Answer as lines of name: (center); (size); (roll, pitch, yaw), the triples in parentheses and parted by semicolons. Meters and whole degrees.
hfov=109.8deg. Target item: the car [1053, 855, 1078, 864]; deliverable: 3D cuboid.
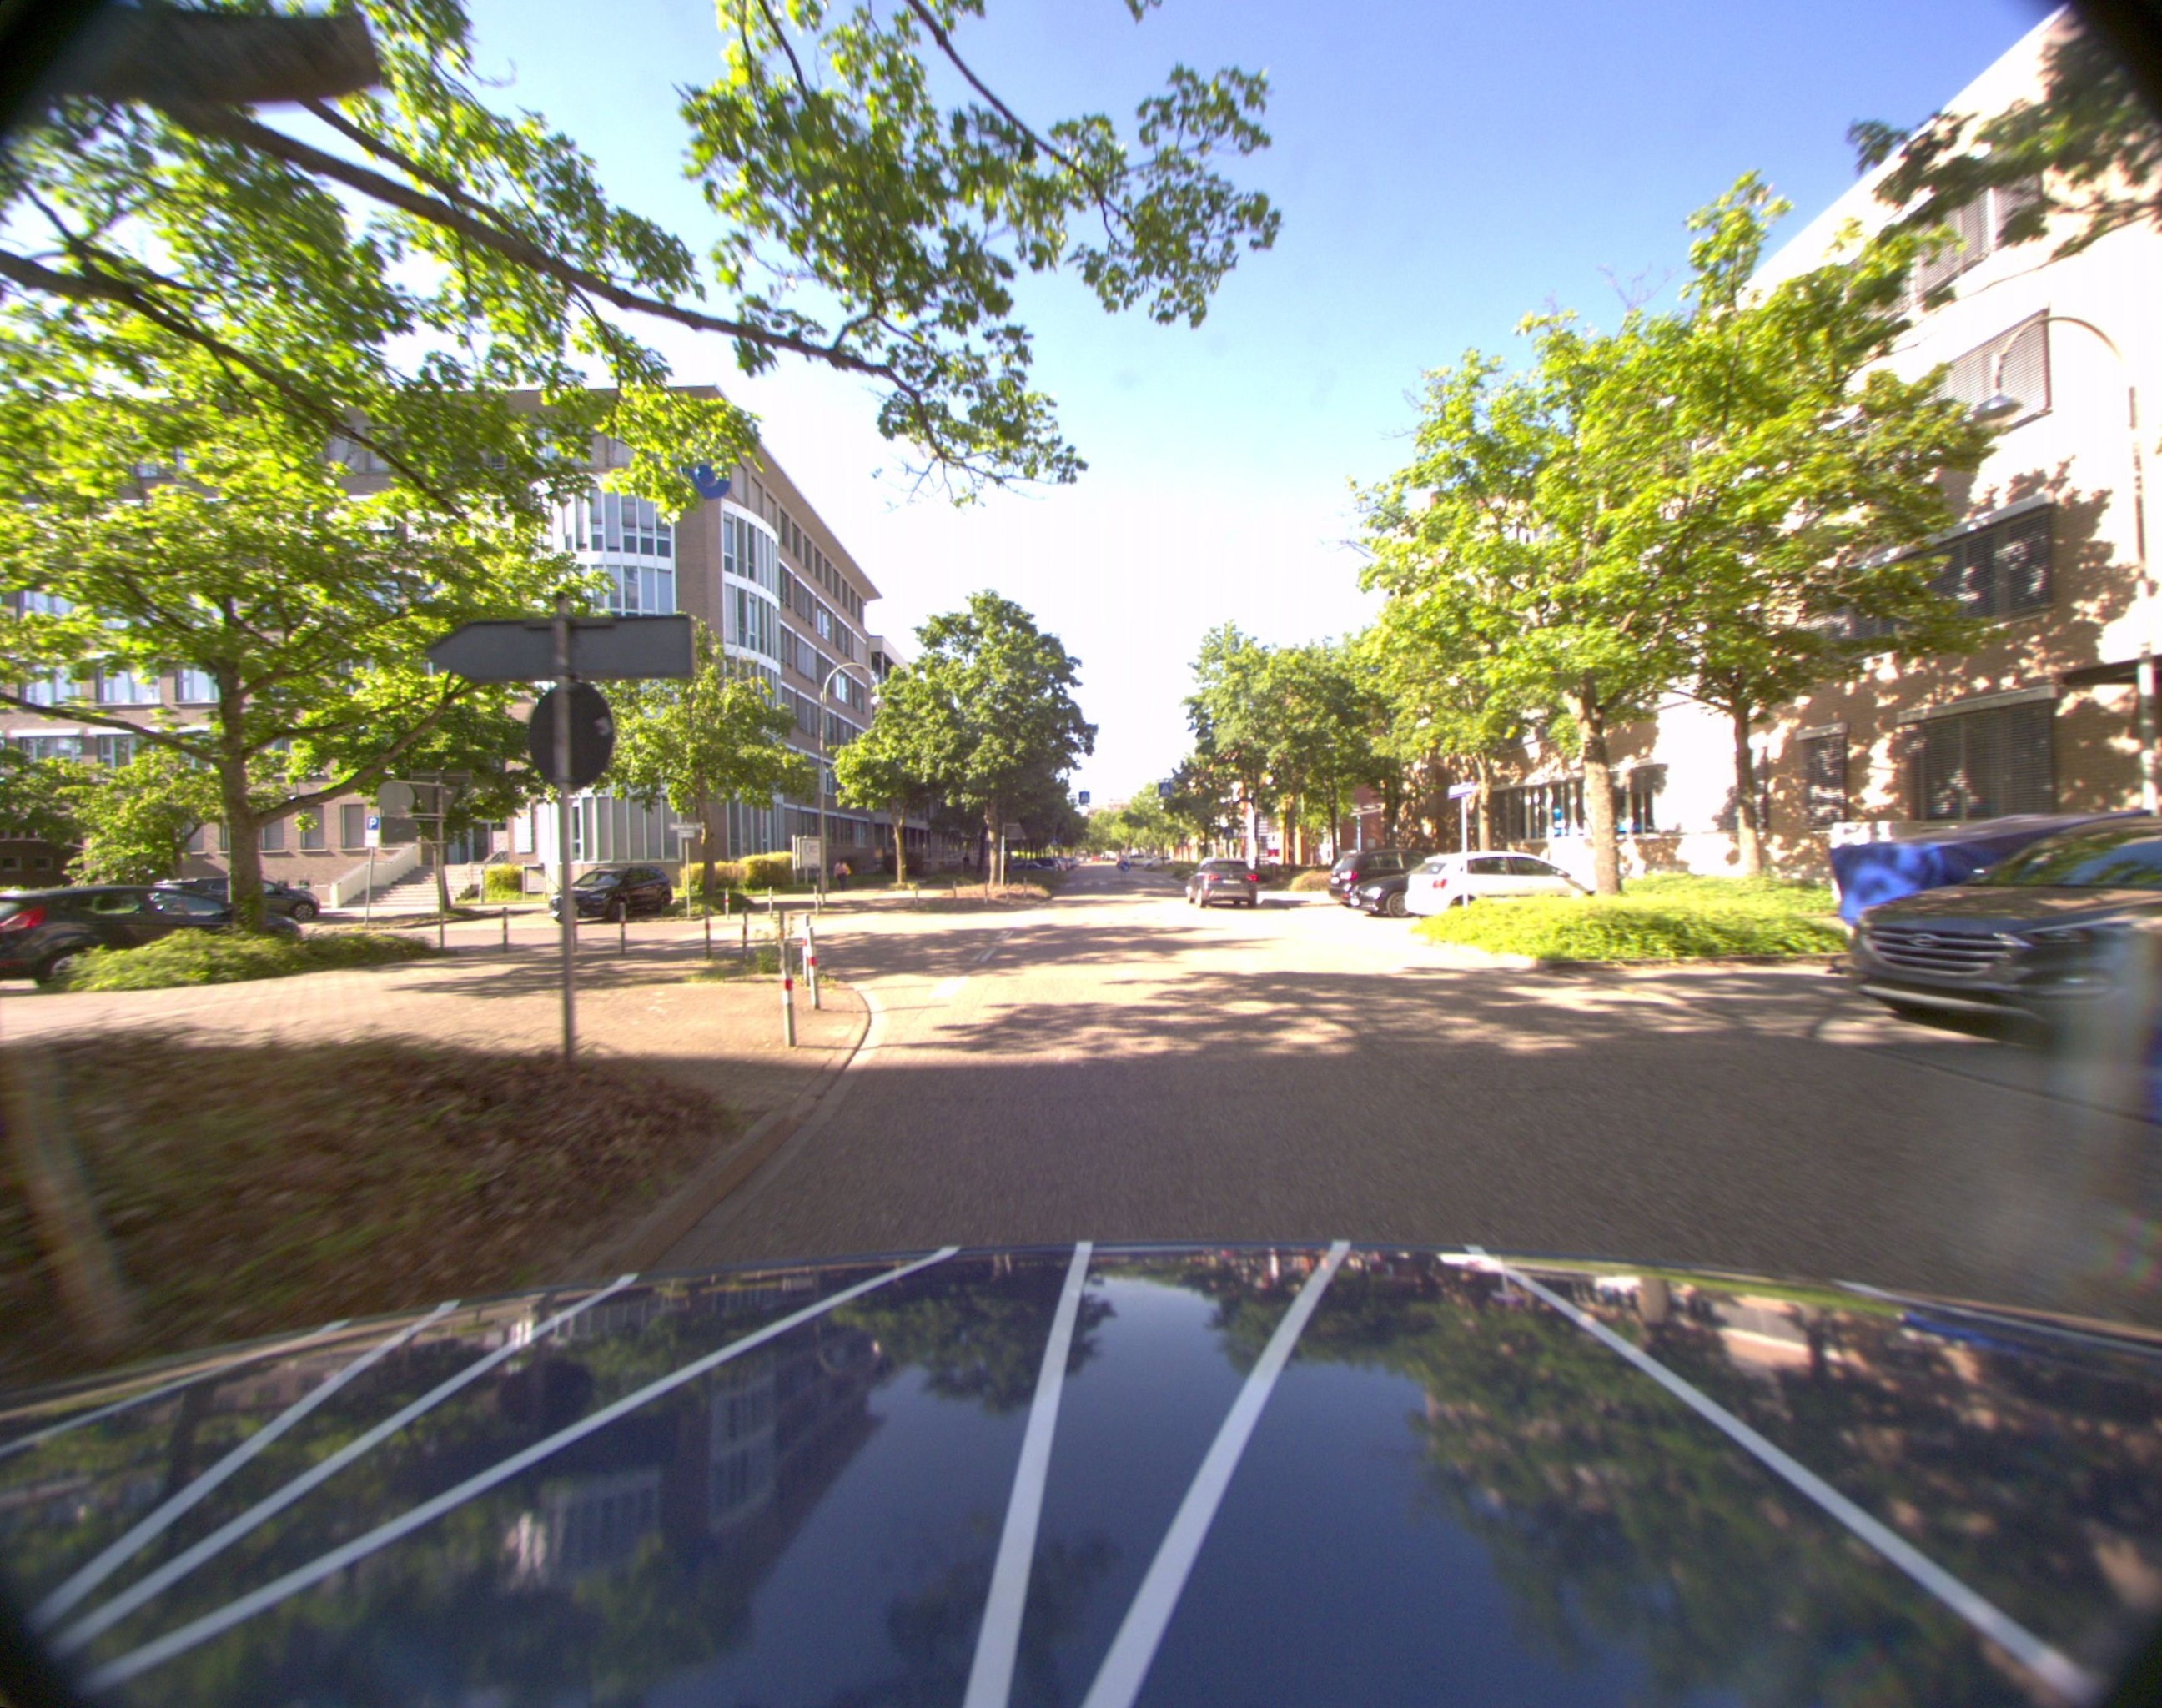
car: (-2.468, 0.867, 120.222); (3.998, 1.471, 1.804); (-1, 0, -2)

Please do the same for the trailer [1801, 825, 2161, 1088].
trailer: (8.433, 0.576, 5.748); (4.272, 1.563, 1.856); (-3, 0, -3)

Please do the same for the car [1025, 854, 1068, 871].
car: (-3.297, 0.817, 72.577); (3.996, 1.575, 1.714); (-1, 0, 2)

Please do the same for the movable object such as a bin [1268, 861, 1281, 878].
movable object such as a bin: (8.442, 0.680, 33.155); (0.442, 0.727, 0.409); (-2, 1, 25)

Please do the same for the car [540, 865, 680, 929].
car: (-14.658, 1.265, 23.990); (1.742, 1.557, 4.364); (-2, 2, -2)

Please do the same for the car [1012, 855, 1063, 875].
car: (-3.559, 0.907, 62.206); (4.136, 1.581, 1.659); (1, 1, -3)

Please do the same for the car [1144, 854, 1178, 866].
car: (10.042, 0.755, 95.596); (4.003, 1.411, 1.618); (-2, 0, 0)

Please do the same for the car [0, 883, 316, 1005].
car: (-14.541, 1.241, 11.619); (1.656, 1.453, 3.918); (-1, -1, 1)

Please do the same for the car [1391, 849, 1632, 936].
car: (8.477, 0.723, 15.227); (3.763, 1.444, 1.754); (-3, 0, 2)

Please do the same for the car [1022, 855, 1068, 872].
car: (-3.294, 0.864, 69.268); (4.136, 1.508, 1.836); (0, 0, -3)

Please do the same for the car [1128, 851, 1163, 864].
car: (9.940, 0.563, 118.056); (5.317, 1.875, 2.000); (-1, 0, 2)

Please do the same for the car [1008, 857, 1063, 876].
car: (-3.425, 0.927, 57.448); (4.127, 1.362, 1.654); (1, 0, -3)

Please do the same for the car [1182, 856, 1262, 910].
car: (4.314, 0.849, 23.800); (1.784, 1.502, 4.000); (-1, 0, 1)

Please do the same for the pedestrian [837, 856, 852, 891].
pedestrian: (-10.698, 0.866, 34.400); (0.539, 1.573, 0.648); (-1, 0, -9)

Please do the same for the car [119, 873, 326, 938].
car: (-27.044, 1.554, 24.175); (1.702, 1.576, 4.000); (-2, 3, 7)

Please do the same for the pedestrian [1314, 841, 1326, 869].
pedestrian: (16.953, 0.079, 53.840); (0.623, 1.911, 0.671); (-2, 13, 2)

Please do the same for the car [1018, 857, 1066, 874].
car: (-3.428, 0.991, 66.348); (4.136, 1.452, 1.660); (1, 0, -3)

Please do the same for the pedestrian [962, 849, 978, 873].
pedestrian: (-8.794, 0.537, 60.169); (1.037, 1.788, 1.018); (-3, 1, 0)

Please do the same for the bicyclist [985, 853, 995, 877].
bicyclist: (-6.320, 0.744, 52.522); (0.538, 1.627, 0.822); (-1, 0, 1)

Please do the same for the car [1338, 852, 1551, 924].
car: (8.564, 0.776, 18.164); (4.162, 1.394, 1.801); (-3, 0, 0)

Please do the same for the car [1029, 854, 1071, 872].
car: (-3.123, 0.882, 75.792); (4.136, 1.657, 1.907); (-1, 0, -3)

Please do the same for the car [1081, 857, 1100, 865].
car: (1.803, 1.365, 144.146); (3.554, 1.544, 1.743); (0, -2, -2)

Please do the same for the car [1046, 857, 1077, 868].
car: (-2.515, 1.082, 97.638); (3.916, 1.374, 1.587); (1, 1, -3)

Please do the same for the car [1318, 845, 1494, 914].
car: (8.806, 0.678, 20.799); (3.997, 1.561, 1.728); (-4, 0, 0)

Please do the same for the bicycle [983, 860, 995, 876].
bicycle: (-6.323, 0.966, 52.326); (0.535, 1.072, 1.920); (-1, 0, 2)

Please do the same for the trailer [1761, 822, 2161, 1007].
trailer: (9.492, 0.586, 8.187); (2.732, 1.677, 1.712); (-3, 0, 1)
